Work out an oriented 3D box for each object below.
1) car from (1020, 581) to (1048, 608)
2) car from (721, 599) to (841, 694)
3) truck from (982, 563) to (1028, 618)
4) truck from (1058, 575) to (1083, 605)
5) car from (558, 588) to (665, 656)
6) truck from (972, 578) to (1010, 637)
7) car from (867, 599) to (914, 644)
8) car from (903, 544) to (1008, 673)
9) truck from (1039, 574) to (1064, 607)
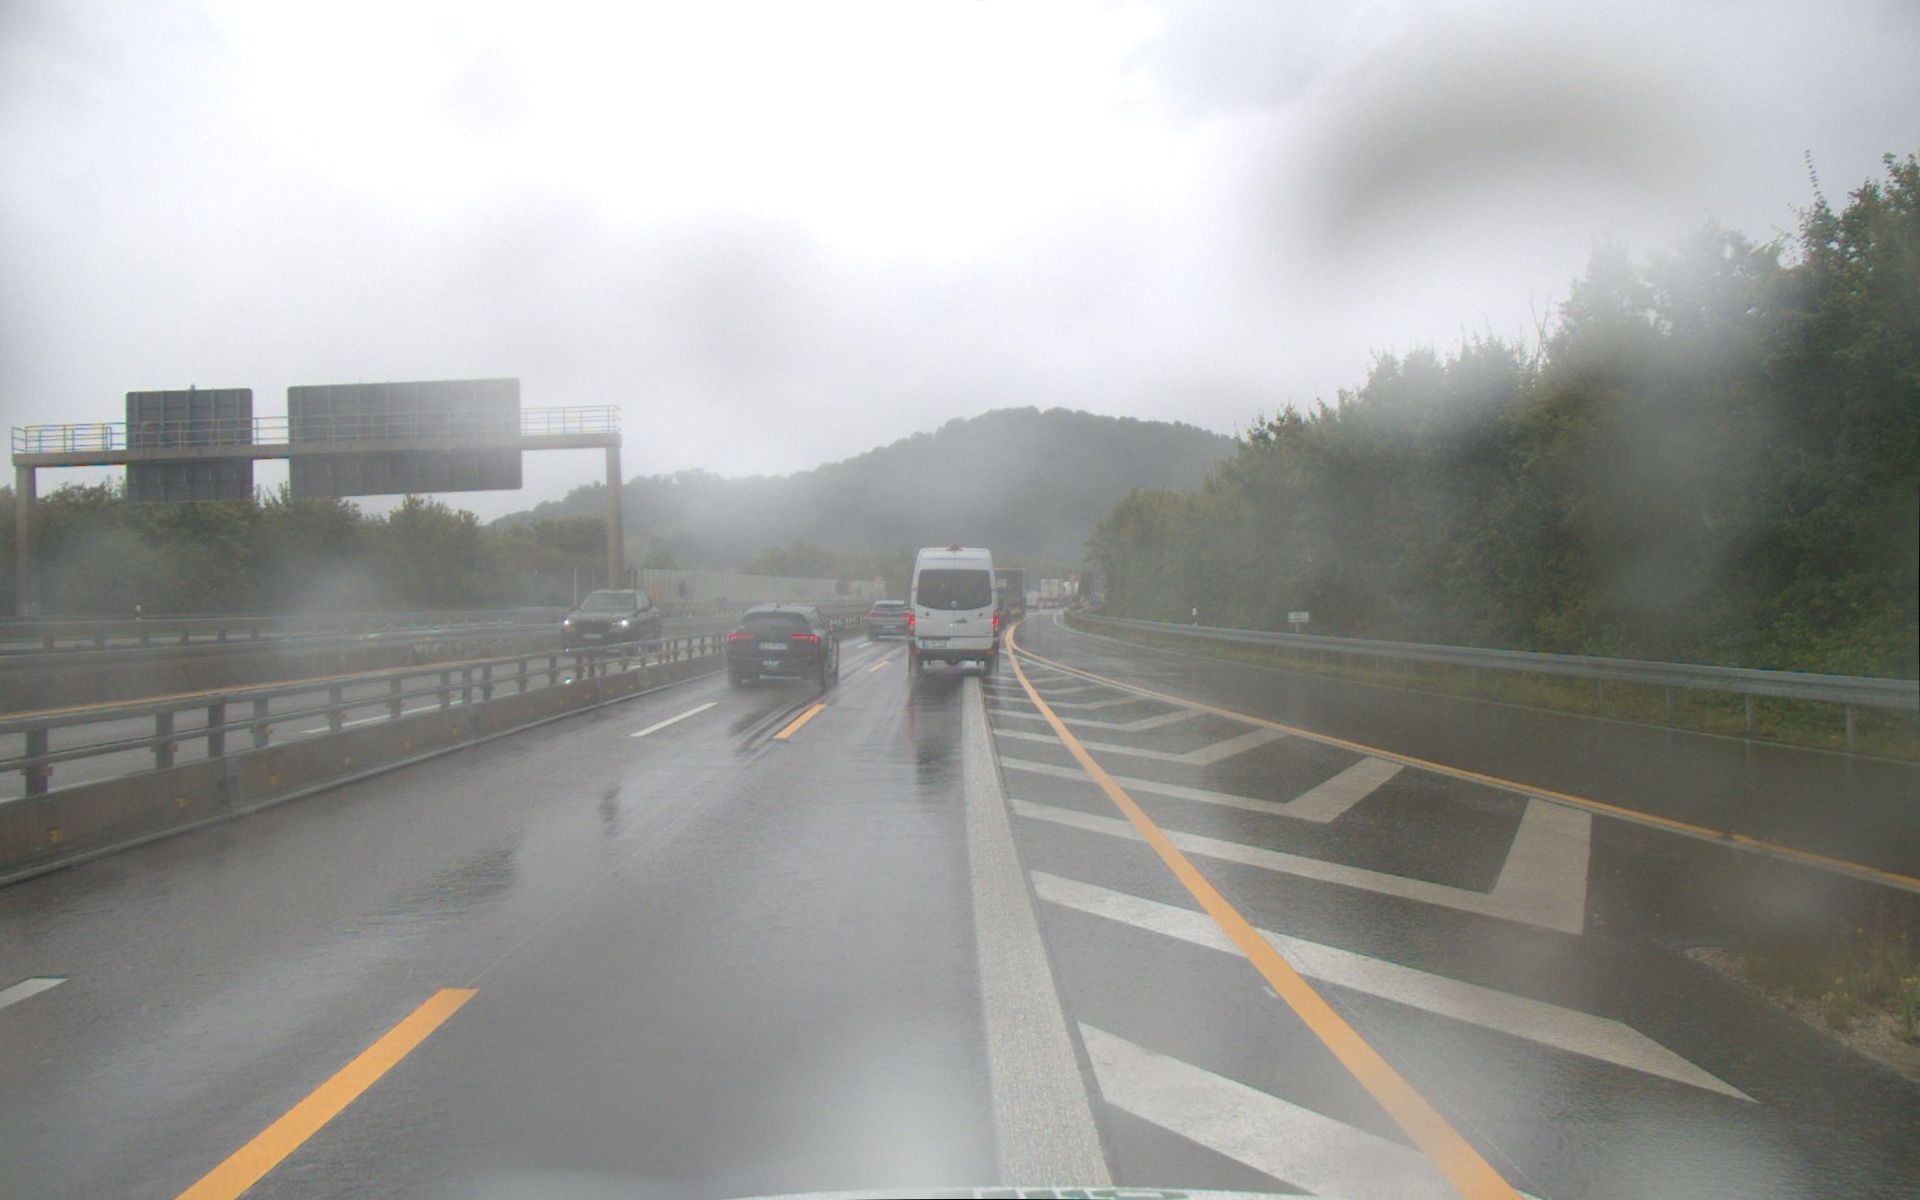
[{"bbox_3d":[8.330,-0.574,186.327,2.837,2.938,6.415,1,0,5],"label":"car"},{"bbox_3d":[-3.204,0.805,30.247,1.908,1.588,3.998,1,0,-3],"label":"car"},{"bbox_3d":[3.902,-0.760,141.164,3.506,4.483,9.628,1,0,4],"label":"truck"},{"bbox_3d":[17.423,-1.508,259.550,2.836,4.483,9.632,1,0,10],"label":"truck"},{"bbox_3d":[-9.505,0.583,45.518,1.911,1.747,5.102,1,0,-1],"label":"car"},{"bbox_3d":[1.756,0.411,93.229,1.952,3.163,8.499,1,0,1],"label":"truck"},{"bbox_3d":[-2.674,0.821,64.149,1.672,1.656,3.999,1,0,-1],"label":"car"},{"bbox_3d":[-0.132,0.187,36.525,2.101,2.616,5.388,1,0,-1],"label":"car"},{"bbox_3d":[12.559,-1.253,226.900,2.972,4.483,9.630,1,0,6],"label":"truck"}]
